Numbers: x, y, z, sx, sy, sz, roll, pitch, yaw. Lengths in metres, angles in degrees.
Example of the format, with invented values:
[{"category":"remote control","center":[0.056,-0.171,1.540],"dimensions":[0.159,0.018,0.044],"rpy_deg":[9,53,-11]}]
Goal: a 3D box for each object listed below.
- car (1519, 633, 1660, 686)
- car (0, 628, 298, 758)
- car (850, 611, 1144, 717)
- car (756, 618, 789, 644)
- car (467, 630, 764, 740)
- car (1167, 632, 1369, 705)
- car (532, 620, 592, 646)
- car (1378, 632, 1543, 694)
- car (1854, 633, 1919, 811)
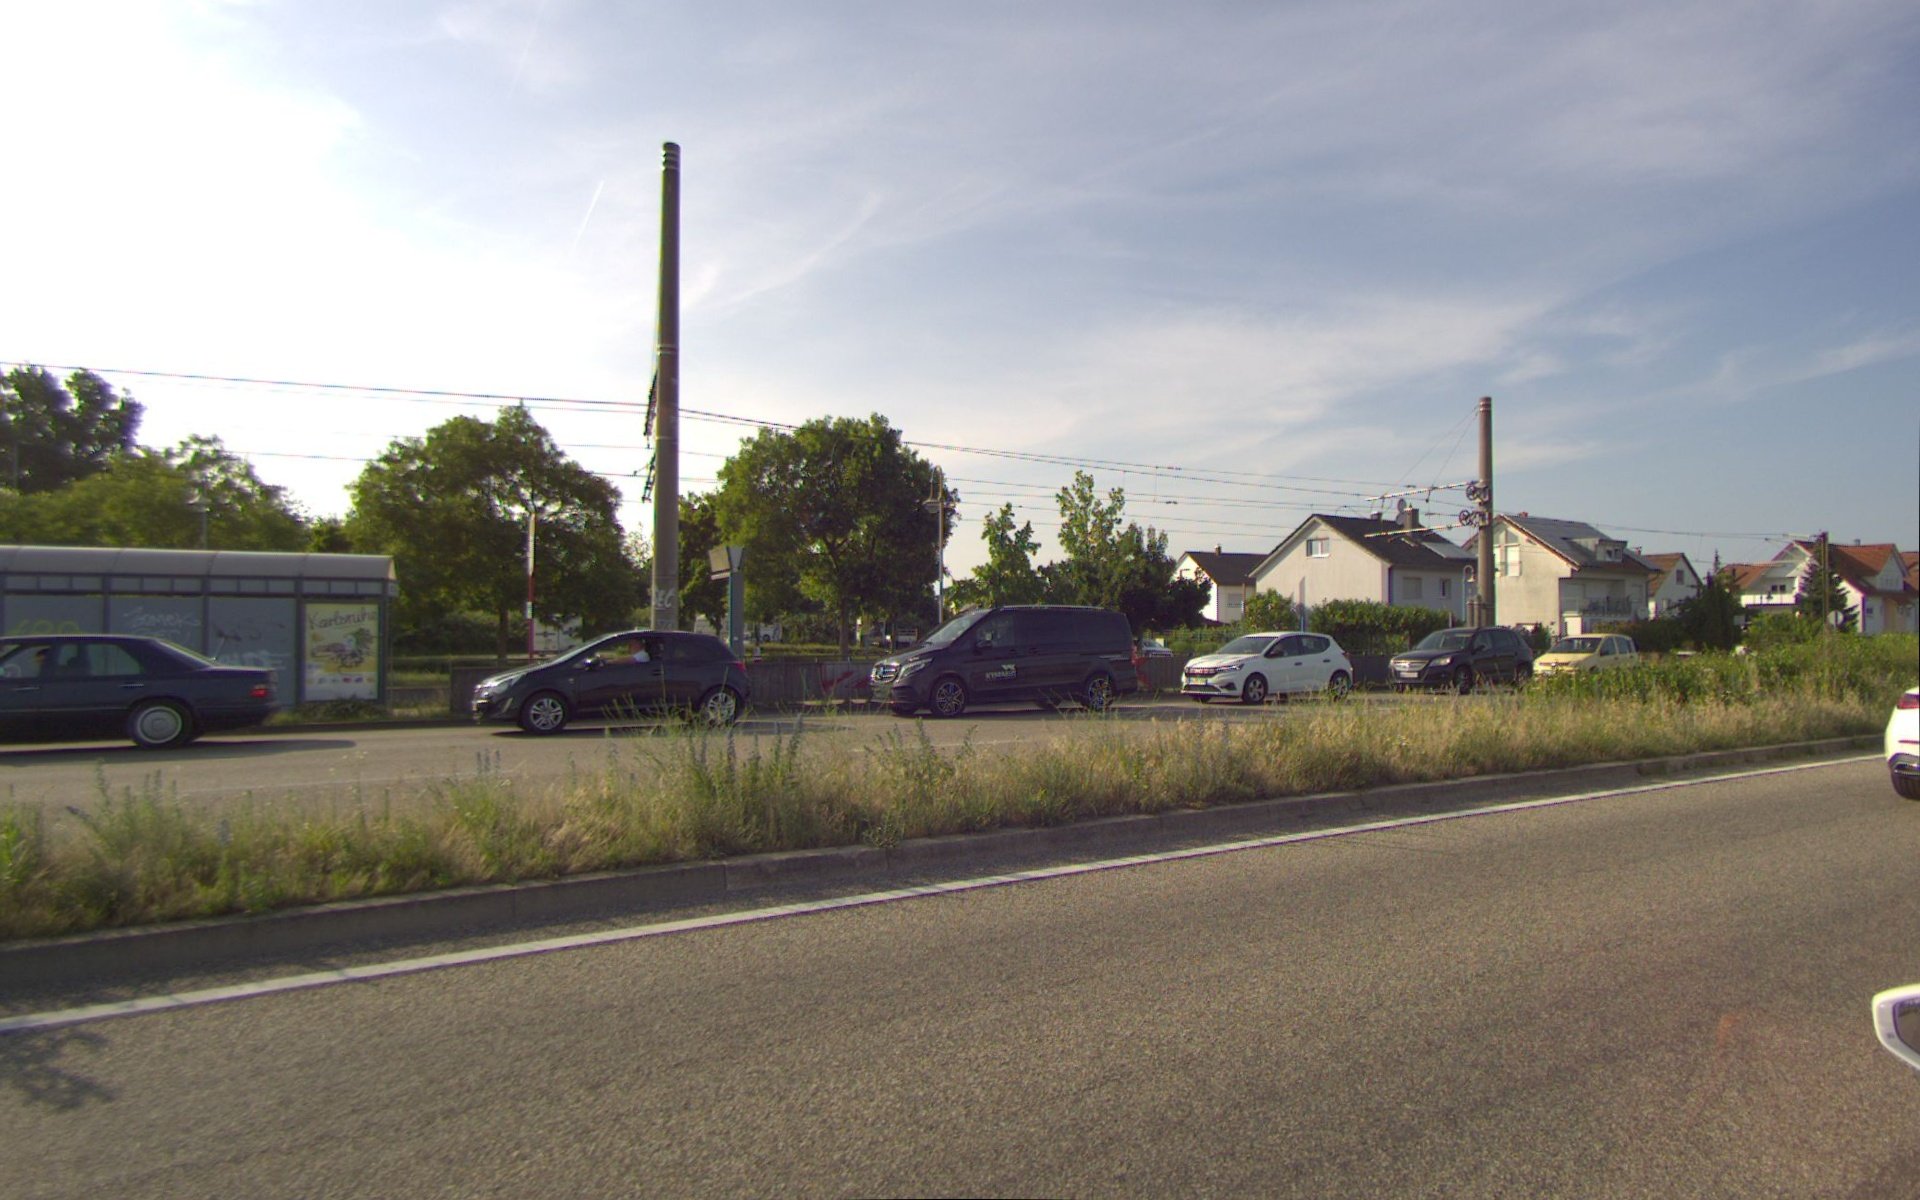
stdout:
[{"category":"car","center":[18.192,1.689,28.982],"dimensions":[4.275,1.450,1.653],"rpy_deg":[1,-3,-30]},{"category":"car","center":[-10.905,1.090,12.180],"dimensions":[4.662,1.450,1.653],"rpy_deg":[1,-3,-30]},{"category":"car","center":[0.750,1.125,18.396],"dimensions":[5.192,1.705,1.906],"rpy_deg":[1,-3,-30]},{"category":"car","center":[-14.353,2.352,76.997],"dimensions":[1.537,1.819,3.116],"rpy_deg":[1,0,10]},{"category":"car","center":[-5.131,1.207,15.106],"dimensions":[4.009,1.450,1.653],"rpy_deg":[1,-3,-30]},{"category":"car","center":[6.734,1.446,21.853],"dimensions":[4.396,1.450,1.653],"rpy_deg":[1,-3,-30]},{"category":"car","center":[-23.158,1.945,58.535],"dimensions":[1.700,1.384,3.626],"rpy_deg":[-1,-4,7]},{"category":"car","center":[12.661,1.562,25.356],"dimensions":[4.275,1.450,1.653],"rpy_deg":[1,-3,-30]},{"category":"car","center":[9.726,0.994,8.500],"dimensions":[4.891,1.355,1.763],"rpy_deg":[1,0,-30]}]
